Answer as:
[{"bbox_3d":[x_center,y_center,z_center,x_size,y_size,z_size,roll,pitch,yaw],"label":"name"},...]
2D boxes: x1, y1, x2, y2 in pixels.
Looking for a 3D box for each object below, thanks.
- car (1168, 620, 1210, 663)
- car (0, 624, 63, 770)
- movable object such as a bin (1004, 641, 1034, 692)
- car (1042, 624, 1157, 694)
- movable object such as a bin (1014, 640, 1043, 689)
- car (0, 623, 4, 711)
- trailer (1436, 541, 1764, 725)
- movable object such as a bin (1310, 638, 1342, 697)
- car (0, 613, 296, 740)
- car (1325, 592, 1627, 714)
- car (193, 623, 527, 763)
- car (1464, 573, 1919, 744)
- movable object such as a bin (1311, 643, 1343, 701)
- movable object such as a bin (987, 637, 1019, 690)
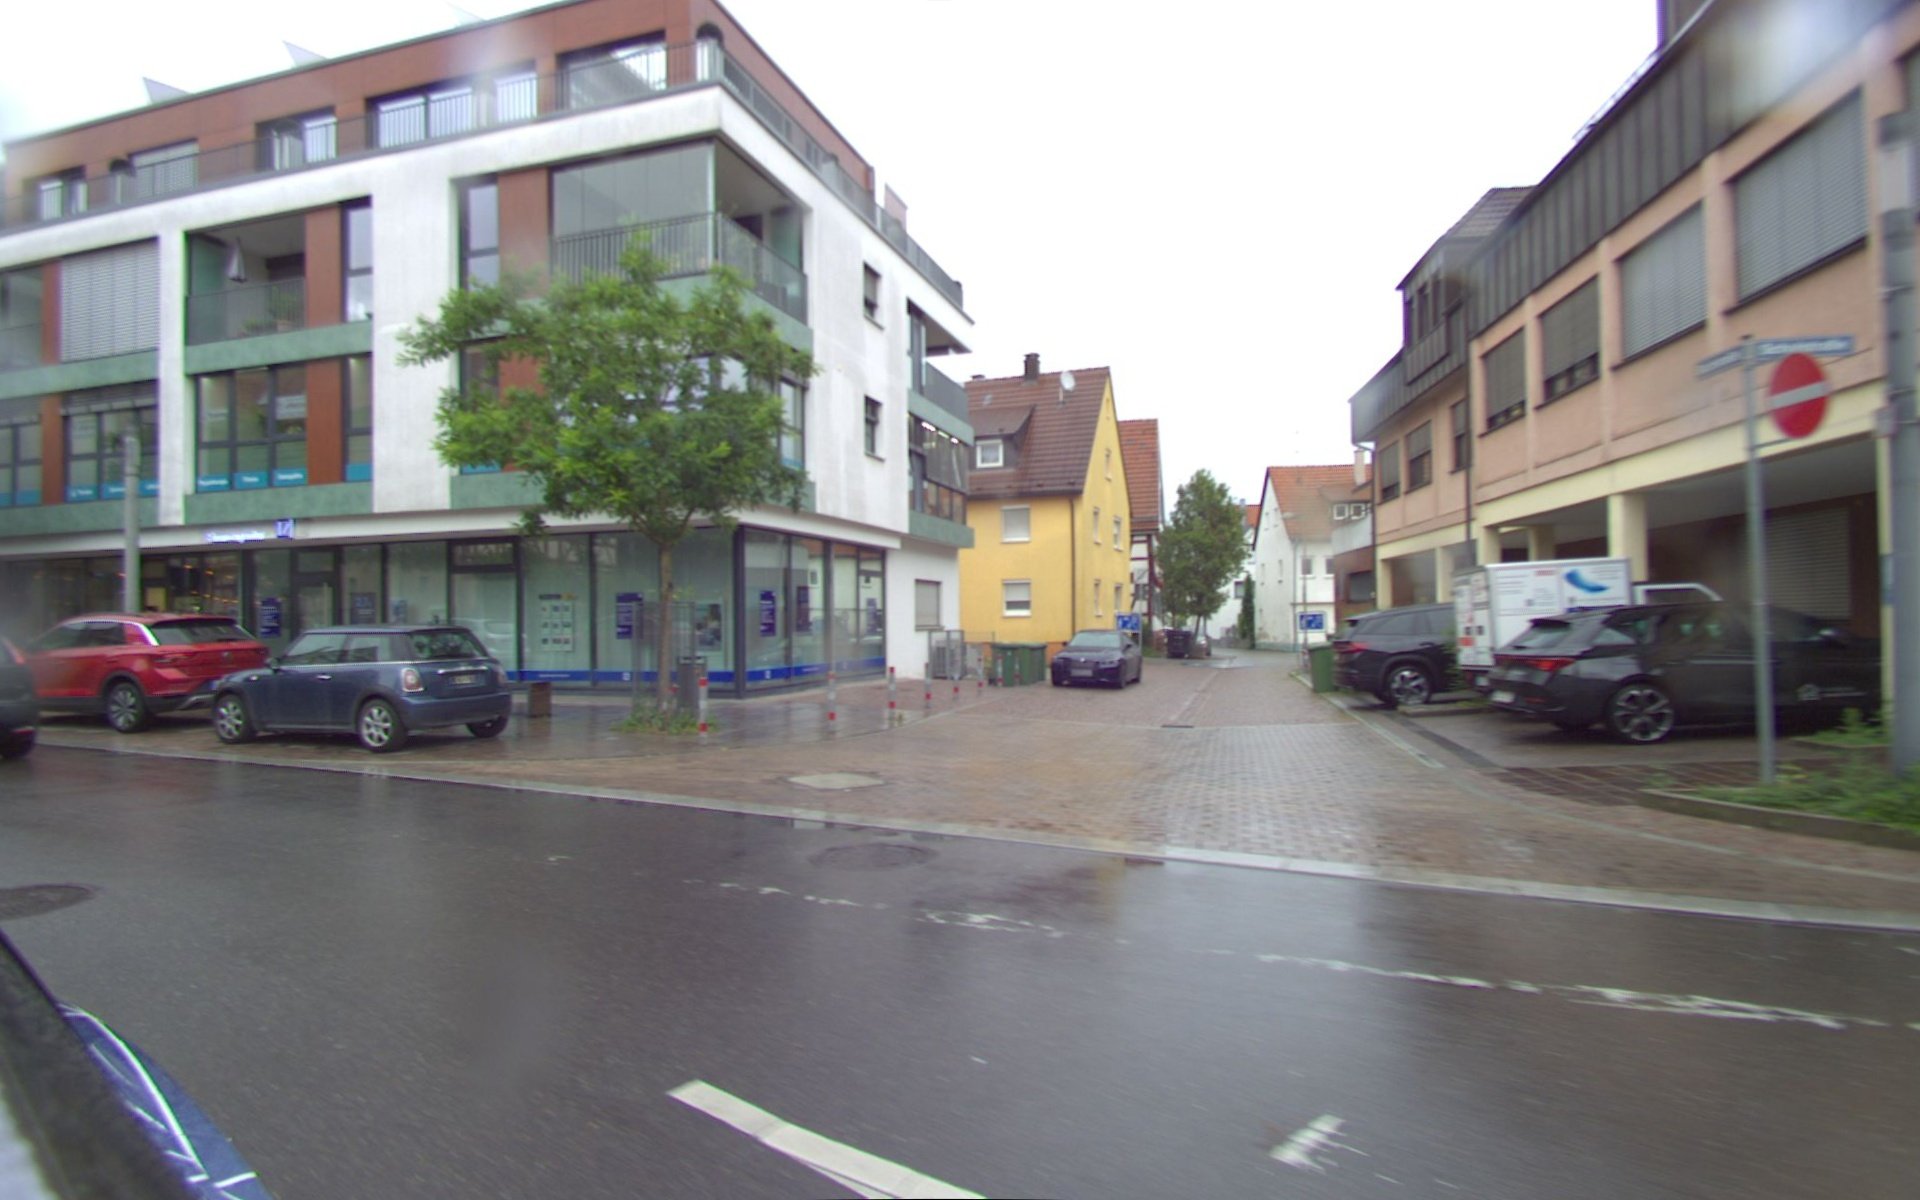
[{"bbox_3d":[11.705,2.108,51.962,1.979,2.029,3.985,-1,0,12],"label":"car"},{"bbox_3d":[-12.064,0.960,10.830,4.481,1.476,1.774,1,-1,20],"label":"car"},{"bbox_3d":[1.491,1.669,25.569,0.627,1.242,0.520,-1,0,21],"label":"movable object such as a bin"},{"bbox_3d":[3.736,1.461,26.409,1.986,1.519,4.512,-1,0,21],"label":"car"},{"bbox_3d":[1.793,1.665,26.458,0.627,1.242,0.520,-1,0,21],"label":"movable object such as a bin"},{"bbox_3d":[-17.351,1.092,15.925,3.828,1.405,1.717,-1,0,17],"label":"car"},{"bbox_3d":[8.359,0.472,13.531,3.060,2.104,1.830,-4,-3,11],"label":"trailer"},{"bbox_3d":[7.878,1.438,21.759,0.627,1.242,0.520,-1,0,21],"label":"movable object such as a bin"},{"bbox_3d":[-11.579,1.000,14.209,3.890,1.566,1.792,-1,0,19],"label":"car"},{"bbox_3d":[8.365,0.891,16.790,3.957,1.684,1.830,-4,-3,11],"label":"car"},{"bbox_3d":[-7.229,1.027,12.218,3.561,1.446,1.668,-1,0,22],"label":"car"},{"bbox_3d":[8.018,0.644,11.126,3.957,1.519,1.830,-4,-3,11],"label":"car"},{"bbox_3d":[8.127,1.583,22.414,0.627,1.242,0.520,-1,0,21],"label":"movable object such as a bin"},{"bbox_3d":[1.052,1.543,24.618,0.627,1.242,0.520,-1,0,21],"label":"movable object such as a bin"}]
